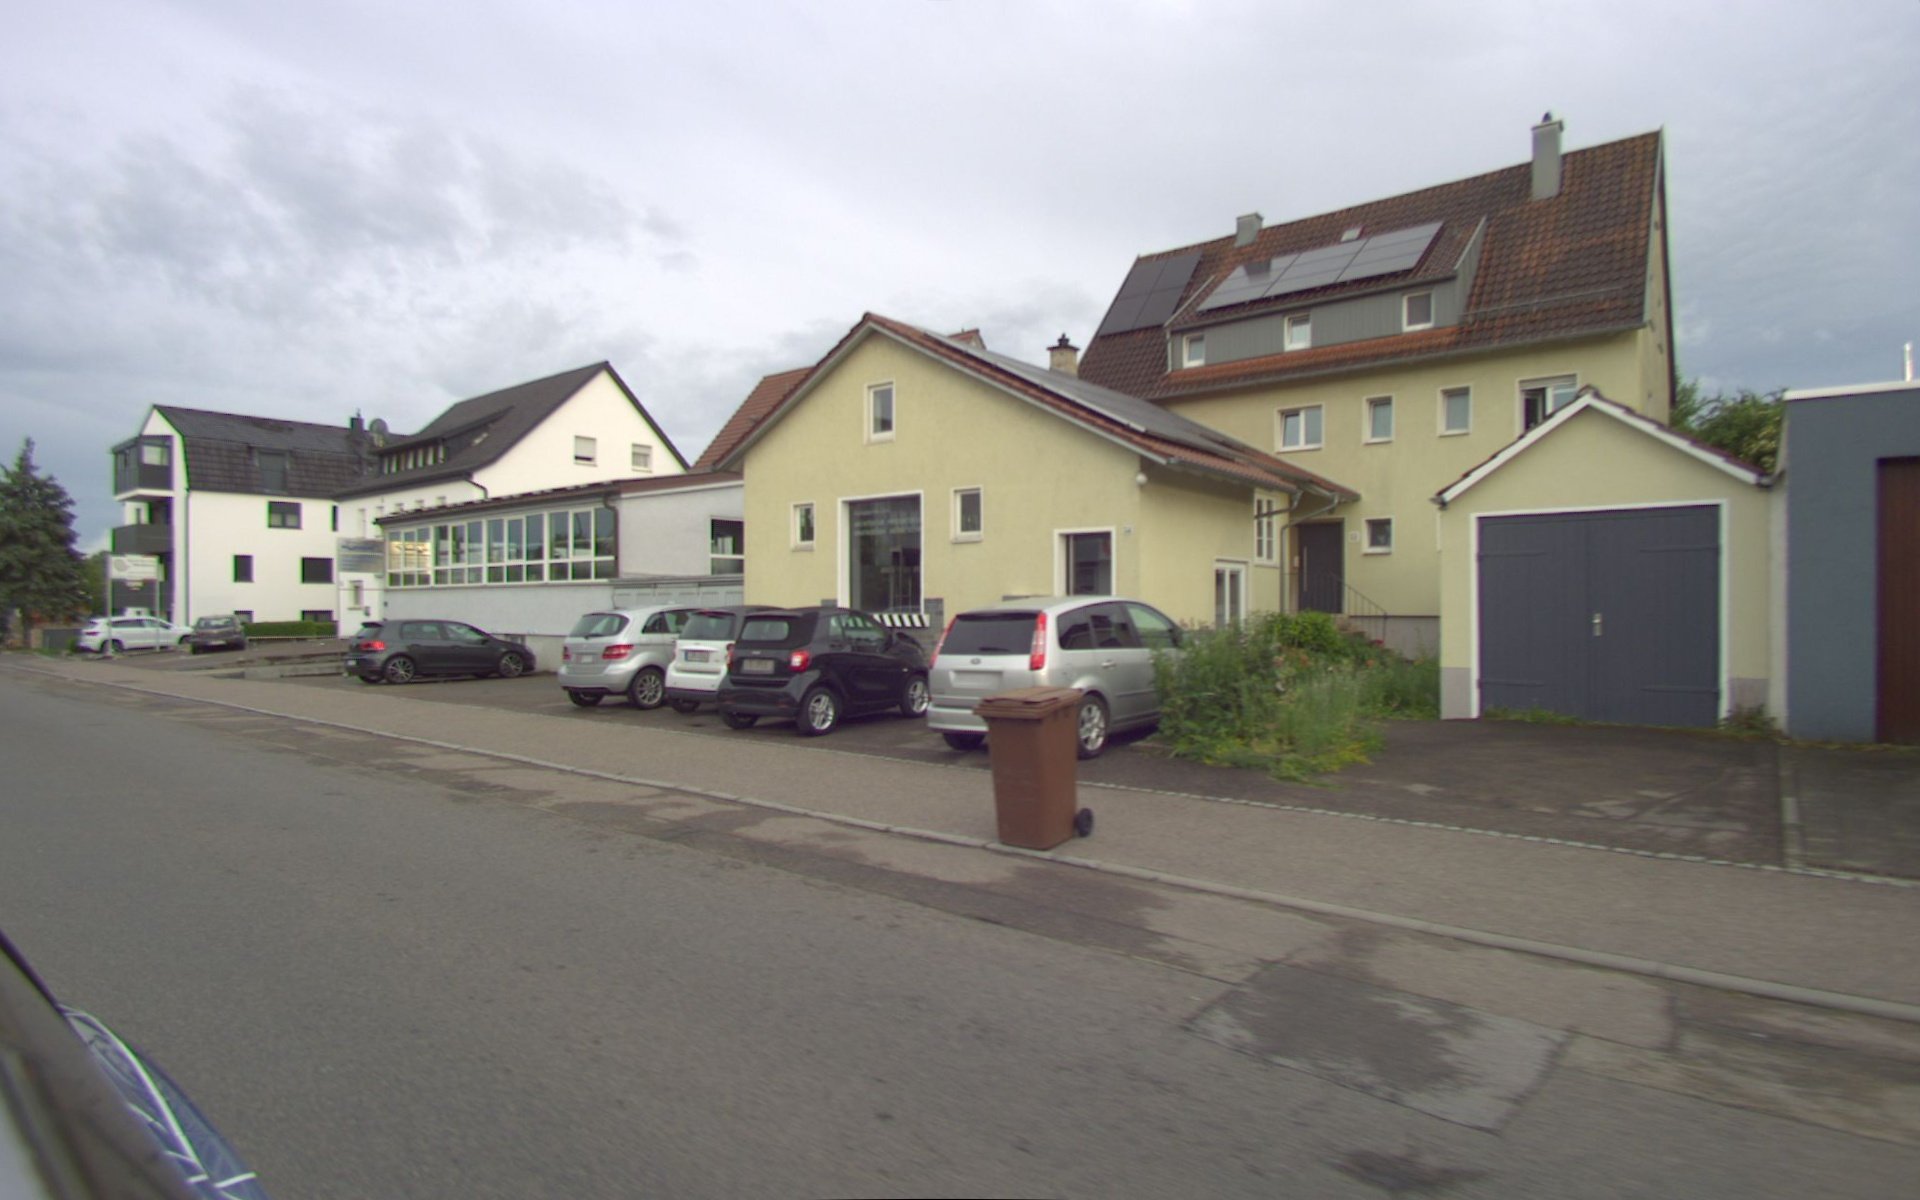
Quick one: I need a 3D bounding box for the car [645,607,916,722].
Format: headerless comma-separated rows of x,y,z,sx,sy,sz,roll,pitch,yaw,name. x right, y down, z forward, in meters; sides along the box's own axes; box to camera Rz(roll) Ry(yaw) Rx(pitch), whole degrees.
-2.662,0.904,15.805,1.810,1.544,4.047,-2,-1,36,car

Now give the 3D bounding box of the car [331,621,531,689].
-12.431,1.242,23.943,1.766,1.449,3.835,-2,-2,39,car

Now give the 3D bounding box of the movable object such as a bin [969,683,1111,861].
0.553,1.148,6.978,0.686,1.065,0.590,-4,2,41,movable object such as a bin

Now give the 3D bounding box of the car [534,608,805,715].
-4.710,0.911,16.924,1.995,1.544,4.049,-1,-1,34,car

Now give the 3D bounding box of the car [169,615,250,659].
-30.349,1.470,40.878,4.000,1.541,1.801,-1,4,43,car

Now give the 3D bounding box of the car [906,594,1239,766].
1.410,0.739,11.171,1.880,1.525,4.047,-2,-1,36,car

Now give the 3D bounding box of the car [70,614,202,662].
-34.900,1.567,42.926,1.997,1.659,3.950,-2,2,38,car

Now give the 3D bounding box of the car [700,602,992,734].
-1.391,0.814,13.836,1.752,1.514,4.049,-2,-1,34,car

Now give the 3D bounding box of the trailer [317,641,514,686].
-14.052,1.602,26.311,1.792,0.950,4.157,-2,-1,38,trailer

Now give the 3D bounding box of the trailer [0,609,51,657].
-62.077,2.160,65.912,2.167,3.069,4.008,-1,0,40,trailer
